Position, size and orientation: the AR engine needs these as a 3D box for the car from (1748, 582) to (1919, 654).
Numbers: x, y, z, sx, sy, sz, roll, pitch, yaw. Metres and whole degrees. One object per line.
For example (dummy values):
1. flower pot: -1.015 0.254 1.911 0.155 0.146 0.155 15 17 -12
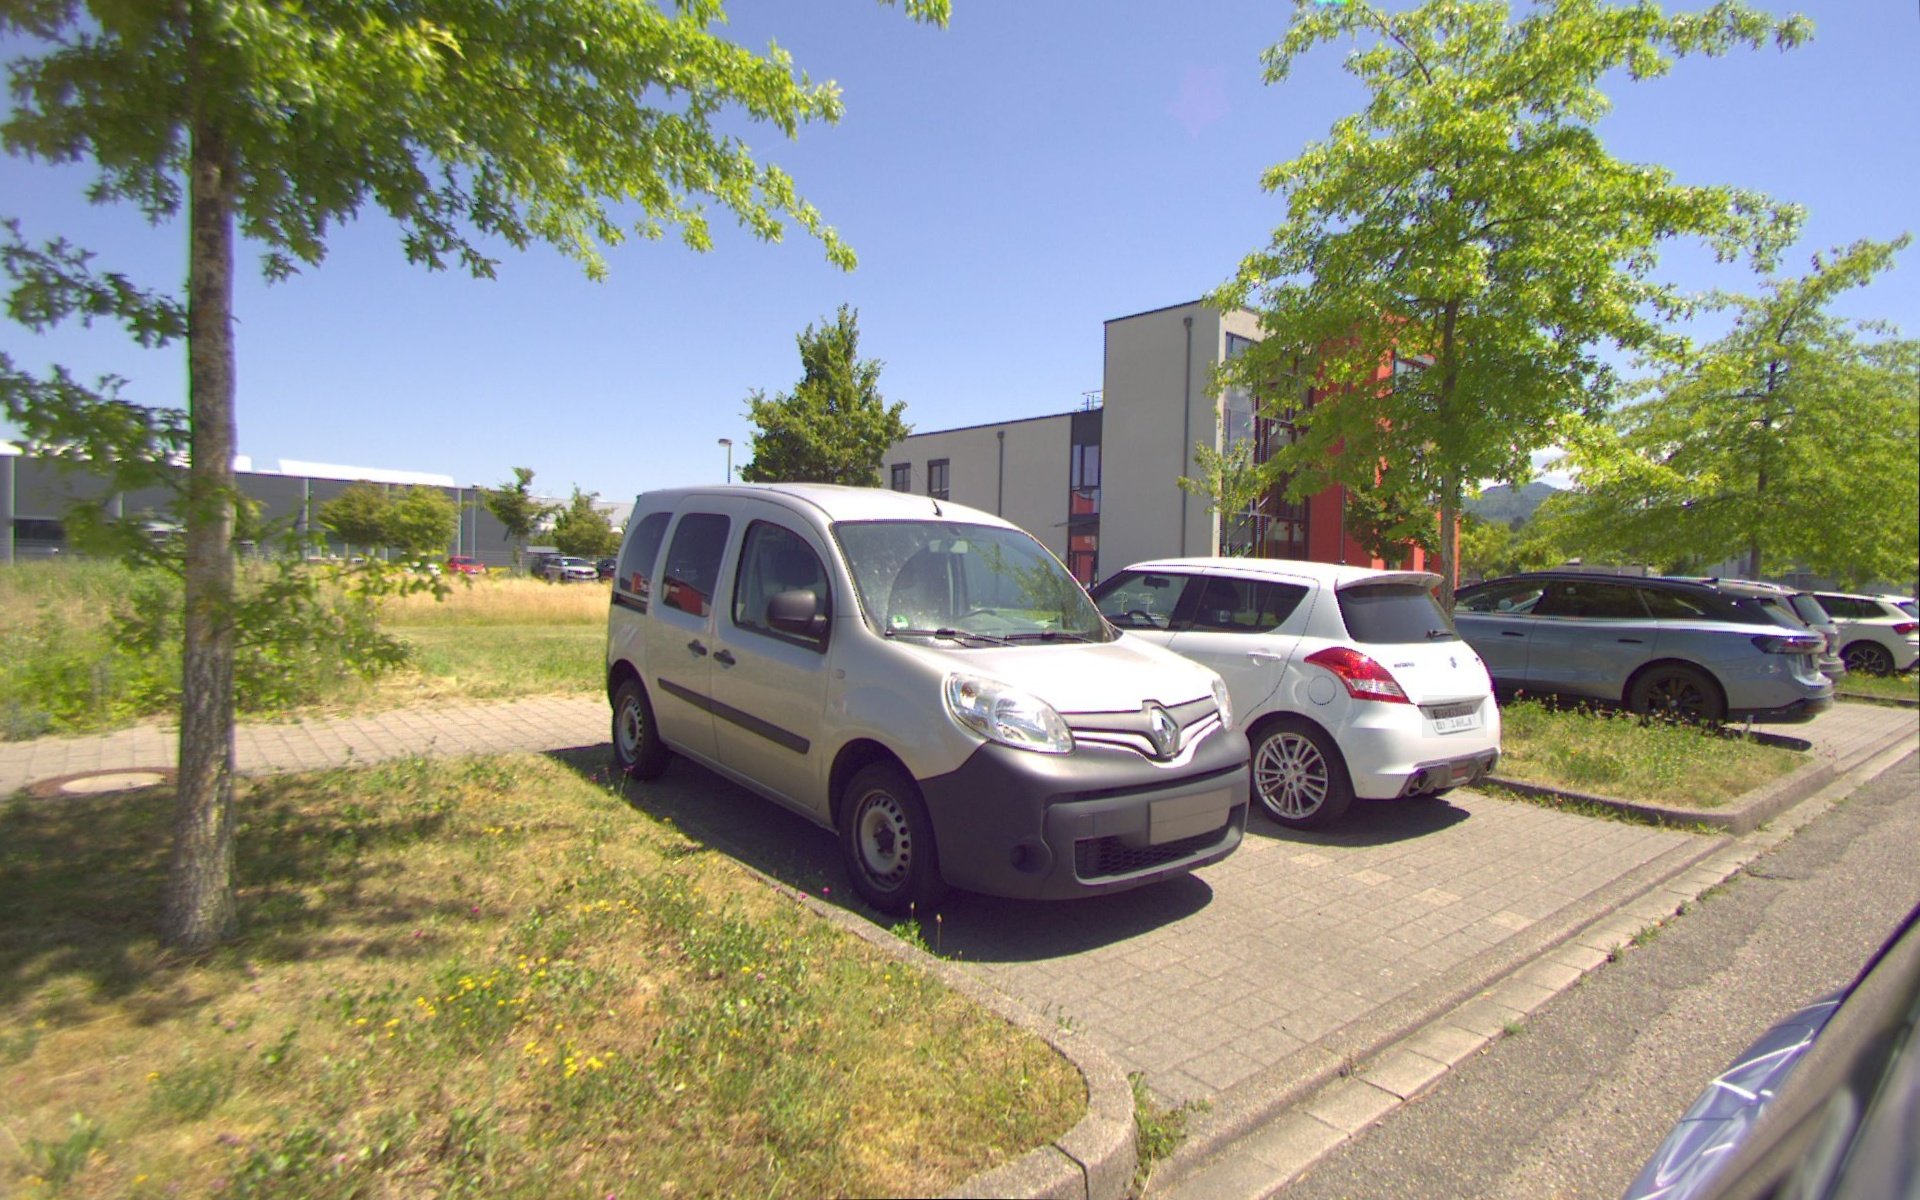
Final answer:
1. car: 21.624 0.403 24.559 1.581 1.481 3.629 1 3 -38

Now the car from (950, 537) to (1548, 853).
1. car: 1.724 0.386 6.982 1.646 1.521 3.641 0 4 -39

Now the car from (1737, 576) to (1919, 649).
1. car: 23.233 0.302 26.611 1.741 1.670 4.122 1 2 -38

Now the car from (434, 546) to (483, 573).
1. car: -29.909 -2.441 60.318 1.689 1.528 3.996 0 2 -40

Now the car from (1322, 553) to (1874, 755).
1. car: 6.660 0.377 11.029 1.882 1.579 4.723 0 4 -43

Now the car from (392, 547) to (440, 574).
1. car: -31.634 -2.287 58.834 1.689 1.470 3.996 0 2 -40

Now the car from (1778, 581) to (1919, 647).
1. car: 25.237 0.401 27.731 1.695 1.508 4.011 1 4 -36

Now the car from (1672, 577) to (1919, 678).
1. car: 15.685 0.446 18.598 1.745 1.572 3.849 2 2 -35

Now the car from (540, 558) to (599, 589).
1. car: -20.908 -1.408 54.161 1.689 1.528 3.995 0 2 -41

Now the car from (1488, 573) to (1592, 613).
1. car: 28.096 -0.372 49.138 1.778 1.797 3.995 3 -1 -40

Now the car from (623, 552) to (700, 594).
1. car: -11.701 -1.087 39.563 1.689 1.528 3.331 0 2 -40

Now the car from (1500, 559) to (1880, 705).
1. car: 10.235 0.330 14.471 1.663 1.644 4.058 0 4 -39

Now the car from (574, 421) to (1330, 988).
1. car: -0.492 0.201 5.569 1.763 1.852 4.416 0 4 -39

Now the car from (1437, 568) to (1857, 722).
1. car: 8.476 0.425 12.815 1.616 1.470 4.058 0 4 -39

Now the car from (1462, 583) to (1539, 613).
1. car: 31.198 -0.141 58.482 1.632 1.519 3.621 -3 4 -43
